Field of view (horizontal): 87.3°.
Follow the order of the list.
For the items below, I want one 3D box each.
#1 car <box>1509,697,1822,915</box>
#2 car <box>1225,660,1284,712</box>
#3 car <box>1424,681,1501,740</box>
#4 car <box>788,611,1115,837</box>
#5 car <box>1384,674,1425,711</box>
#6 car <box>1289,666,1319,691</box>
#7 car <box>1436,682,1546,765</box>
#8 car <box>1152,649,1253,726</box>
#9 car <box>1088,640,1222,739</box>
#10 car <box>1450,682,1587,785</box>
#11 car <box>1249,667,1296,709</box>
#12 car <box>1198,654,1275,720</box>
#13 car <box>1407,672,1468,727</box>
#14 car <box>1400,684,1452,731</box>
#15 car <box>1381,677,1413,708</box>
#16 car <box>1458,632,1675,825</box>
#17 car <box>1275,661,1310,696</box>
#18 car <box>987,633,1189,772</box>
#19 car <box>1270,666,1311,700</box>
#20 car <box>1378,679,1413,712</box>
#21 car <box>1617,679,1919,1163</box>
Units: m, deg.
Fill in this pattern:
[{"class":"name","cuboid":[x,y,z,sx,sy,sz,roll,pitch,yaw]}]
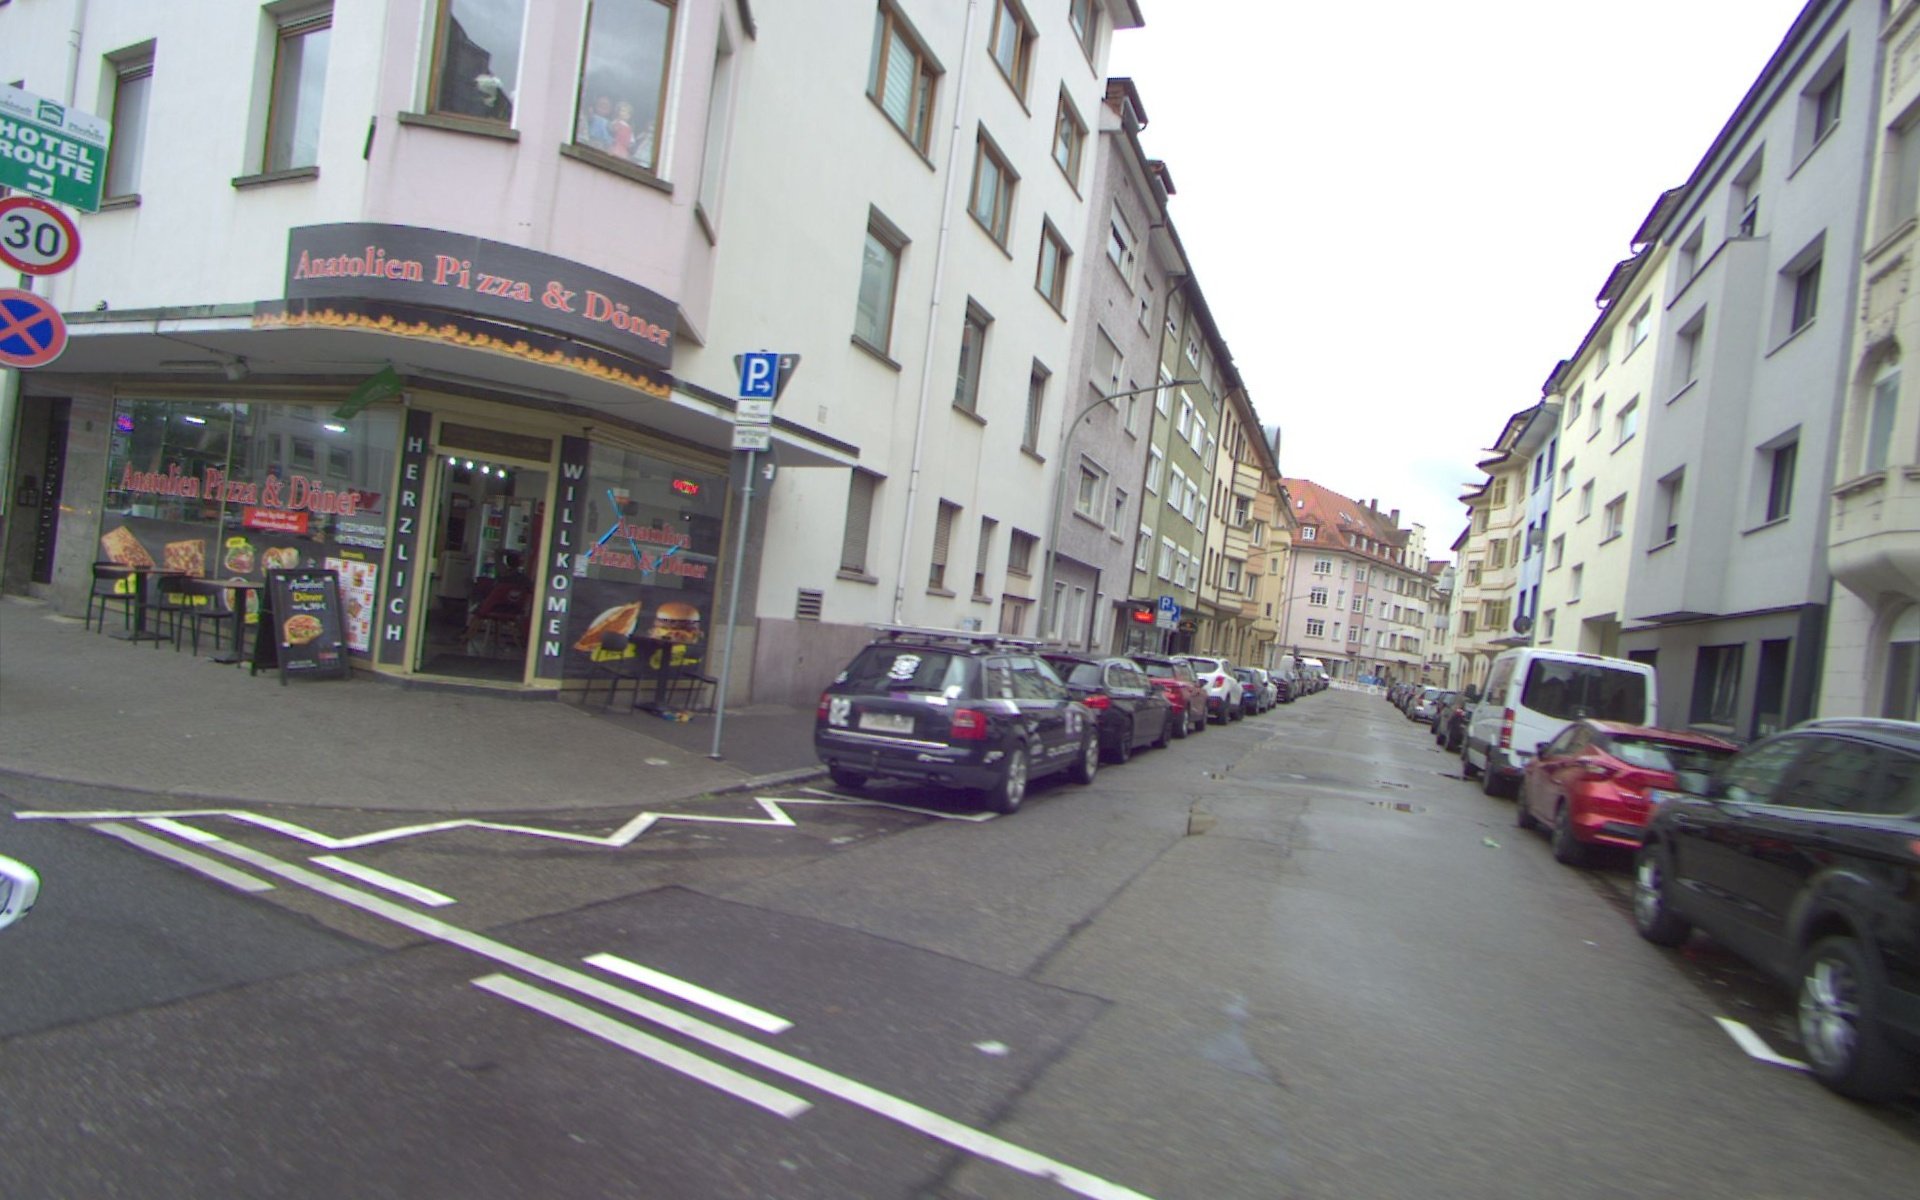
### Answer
[{"class":"car","cuboid":[7.228,1.979,10.757,1.747,1.509,3.696,7,0,21]},{"class":"car","cuboid":[11.019,3.192,37.515,1.635,1.610,3.755,7,-2,21]},{"class":"car","cuboid":[17.660,3.825,35.506,1.874,1.710,3.903,7,-2,21]},{"class":"car","cuboid":[0.171,1.114,10.182,1.773,1.626,4.121,5,-2,21]},{"class":"car","cuboid":[28.284,5.861,64.139,1.963,2.037,4.001,7,-1,22]},{"class":"car","cuboid":[26.462,6.045,77.325,1.874,1.597,3.903,7,-2,21]},{"class":"car","cuboid":[13.513,3.077,25.814,1.874,1.710,3.903,7,-2,21]},{"class":"car","cuboid":[6.301,2.223,25.816,1.874,1.597,3.903,7,-2,21]},{"class":"car","cuboid":[4.090,1.806,20.596,1.874,1.597,3.903,7,-2,21]},{"class":"car","cuboid":[11.638,2.713,21.206,1.874,1.710,3.559,7,-2,21]},{"class":"car","cuboid":[14.176,3.983,45.571,1.635,1.610,3.755,7,-2,21]},{"class":"car","cuboid":[9.067,2.822,32.829,1.874,1.759,3.903,7,-2,21]},{"class":"car","cuboid":[20.667,4.288,43.655,1.874,2.013,3.903,7,-2,21]},{"class":"car","cuboid":[23.346,5.337,50.536,1.874,2.013,3.903,7,-2,21]},{"class":"car","cuboid":[34.303,7.304,79.021,1.963,2.035,4.005,7,-3,22]},{"class":"car","cuboid":[9.599,1.956,16.378,1.979,2.432,4.739,7,-2,21]},{"class":"car","cuboid":[22.807,5.372,69.001,1.963,2.037,4.002,7,-1,19]},{"class":"car","cuboid":[2.126,1.490,15.290,1.838,1.551,4.635,7,-2,21]},{"class":"car","cuboid":[18.849,4.716,57.365,1.874,1.597,3.903,7,-2,21]},{"class":"car","cuboid":[31.567,6.947,72.966,1.963,2.035,4.005,7,-3,22]},{"class":"car","cuboid":[5.237,1.475,5.311,1.838,1.793,4.153,9,-1,20]}]
